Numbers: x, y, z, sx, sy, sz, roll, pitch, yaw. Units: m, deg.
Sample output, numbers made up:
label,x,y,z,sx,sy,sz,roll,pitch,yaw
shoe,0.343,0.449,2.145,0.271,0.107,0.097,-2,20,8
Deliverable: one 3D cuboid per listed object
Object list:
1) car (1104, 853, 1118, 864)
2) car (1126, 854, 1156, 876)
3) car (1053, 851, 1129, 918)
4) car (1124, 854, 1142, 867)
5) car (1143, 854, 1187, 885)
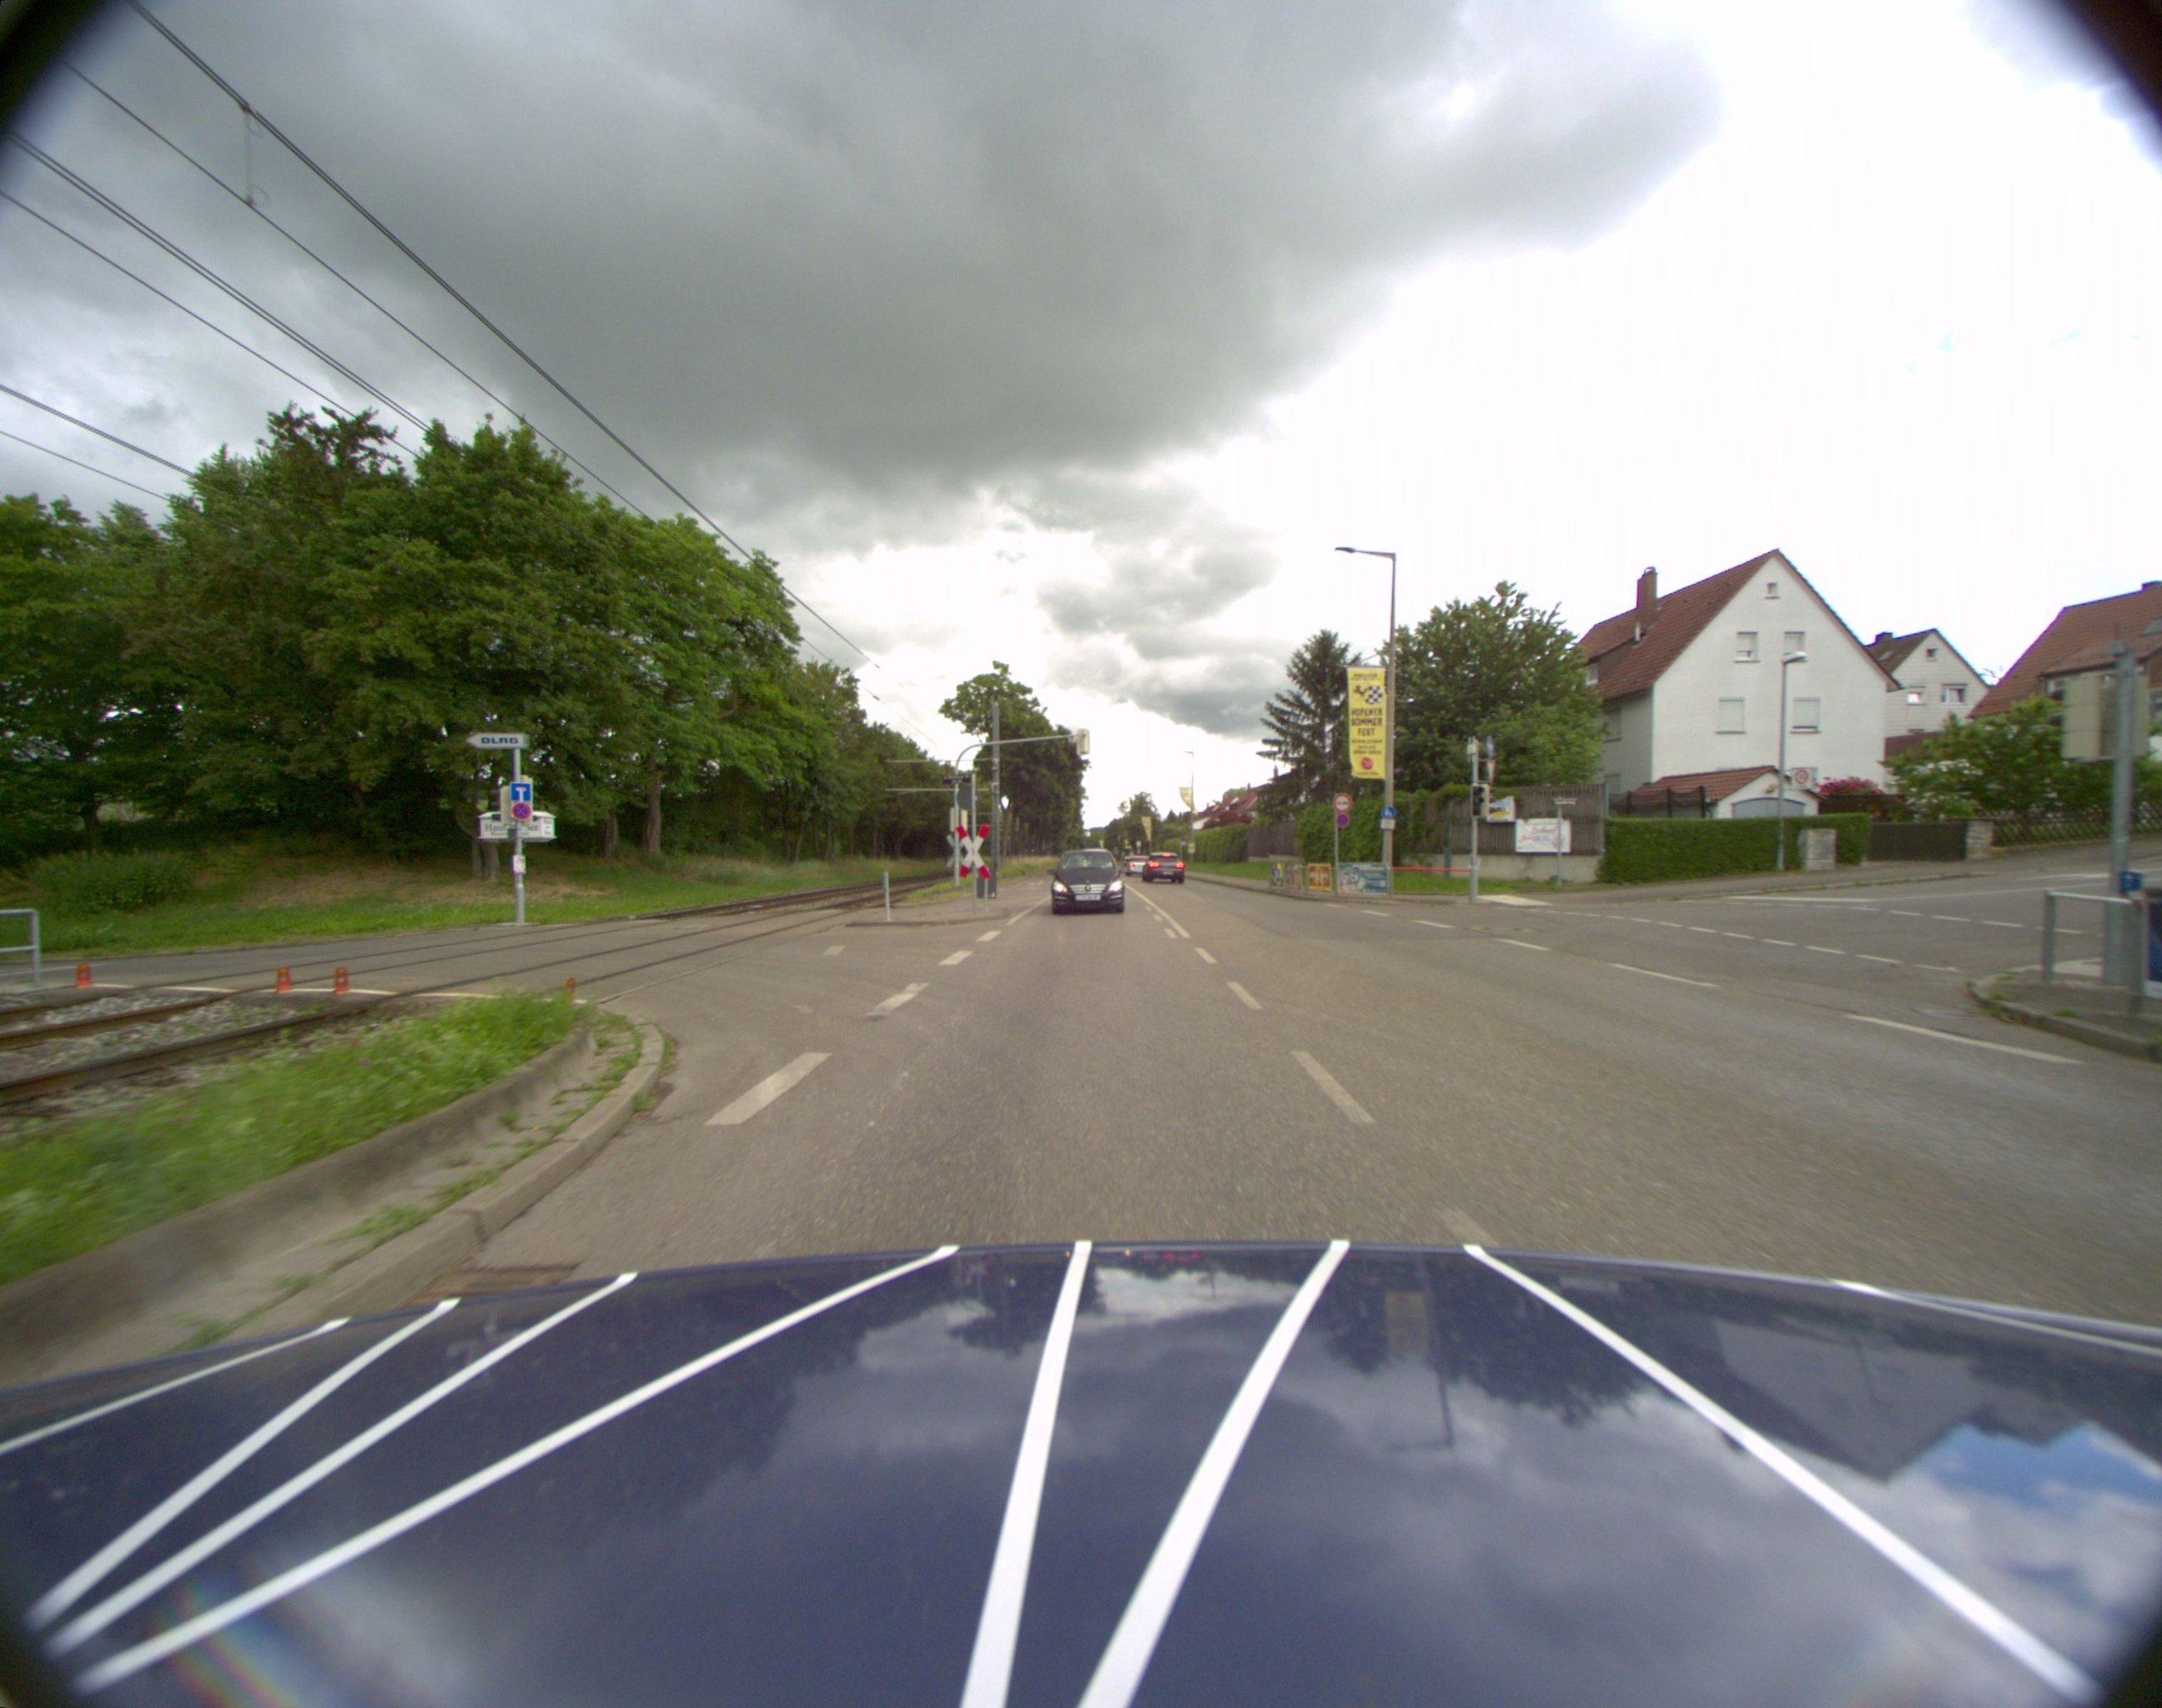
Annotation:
label,x,y,z,sx,sy,sz,roll,pitch,yaw
car,4.553,0.708,116.148,1.904,1.570,4.121,1,0,0
car,4.340,0.793,55.555,1.880,1.501,4.207,1,0,0
car,0.233,0.703,19.736,1.749,1.558,4.121,0,0,0
car,6.530,0.770,95.896,1.904,1.570,4.121,1,0,0
car,4.522,0.787,41.573,1.904,1.570,4.278,1,0,0
